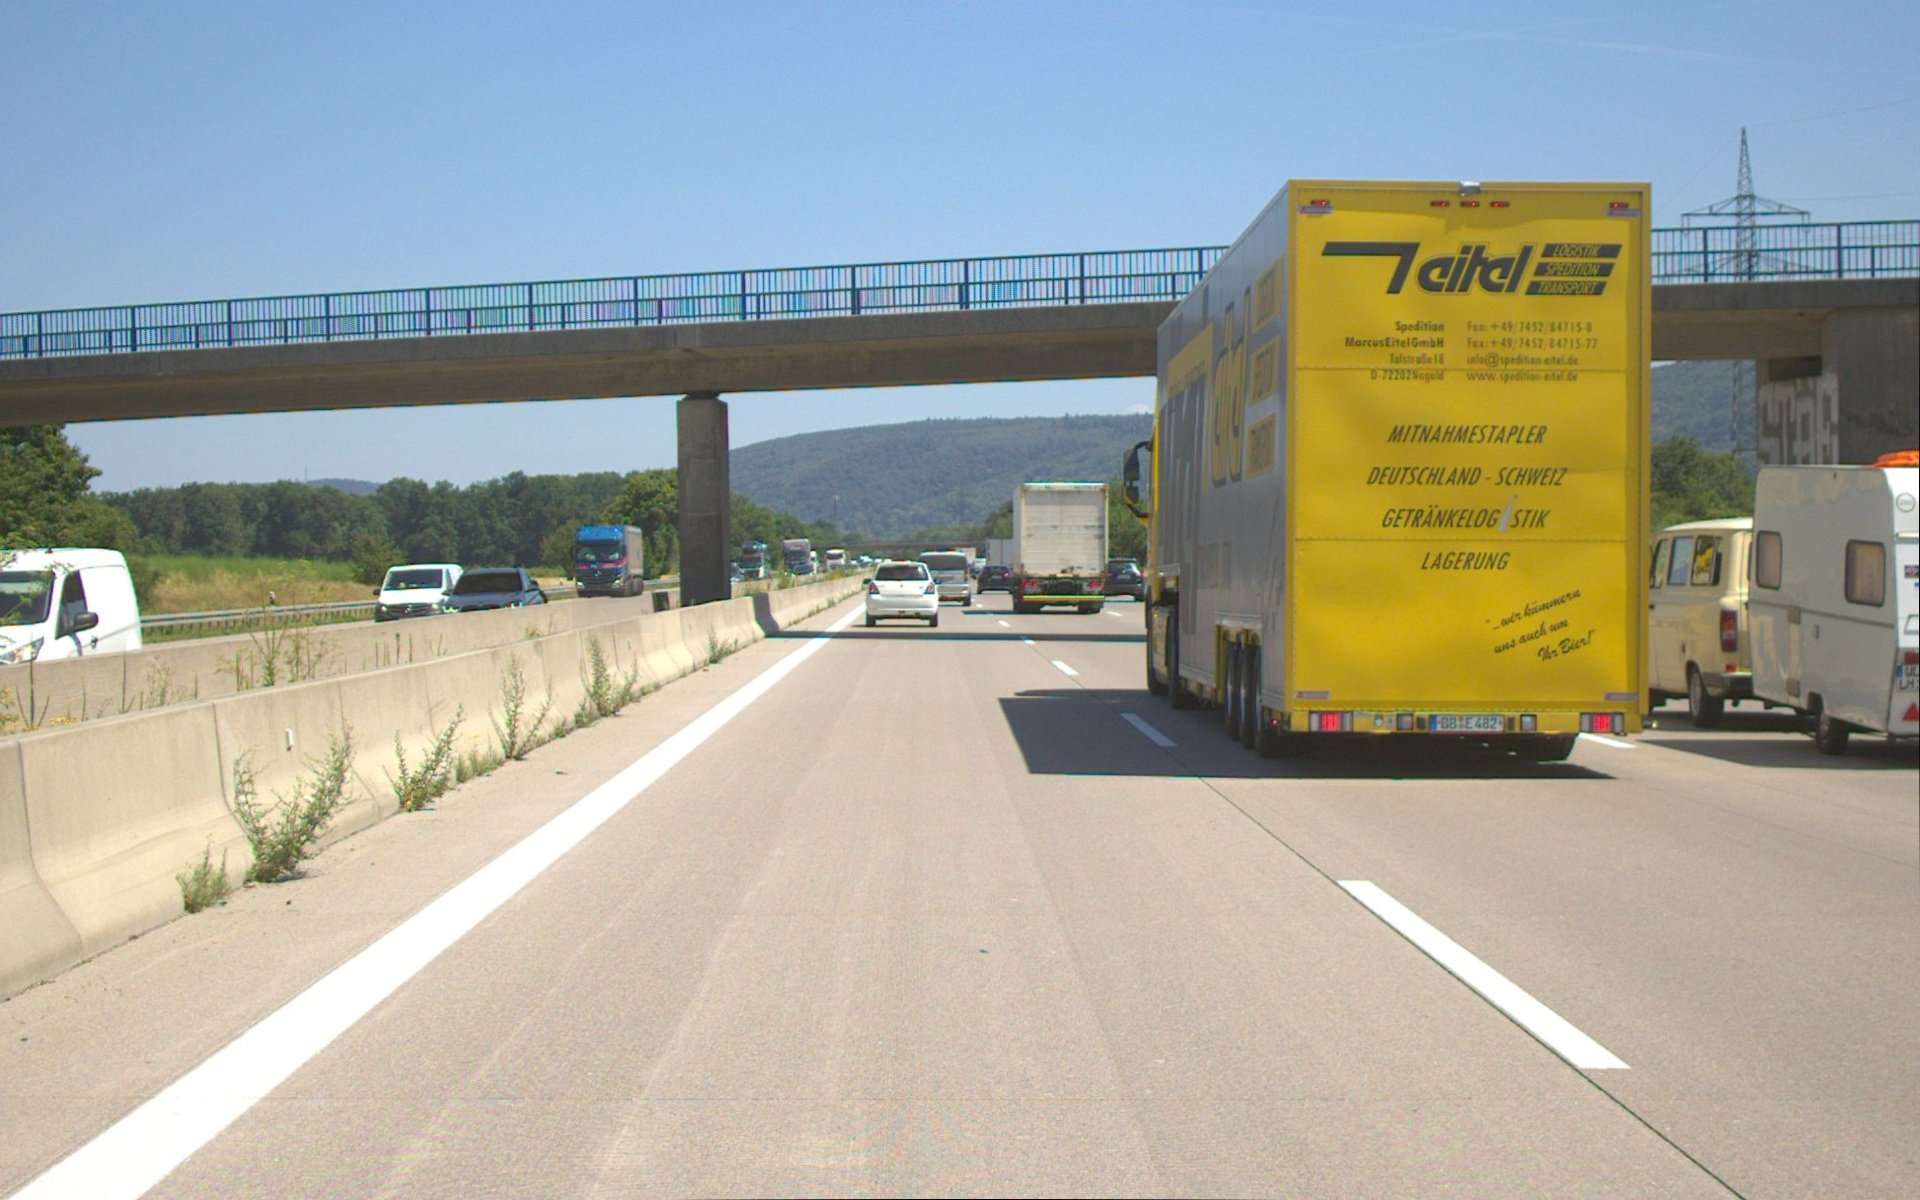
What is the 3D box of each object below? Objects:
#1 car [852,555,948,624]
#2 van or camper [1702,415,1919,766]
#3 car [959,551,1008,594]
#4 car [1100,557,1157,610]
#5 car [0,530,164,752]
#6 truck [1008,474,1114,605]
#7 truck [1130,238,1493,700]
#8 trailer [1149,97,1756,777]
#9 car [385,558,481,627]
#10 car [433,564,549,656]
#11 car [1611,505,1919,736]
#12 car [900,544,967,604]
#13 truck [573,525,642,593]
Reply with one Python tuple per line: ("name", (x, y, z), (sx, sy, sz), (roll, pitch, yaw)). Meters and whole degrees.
("car", (-1.381, -0.279, 80.893), (2.107, 1.530, 4.122), (1, 1, 1))
("van or camper", (7.688, -0.102, 27.455), (2.224, 2.522, 5.431), (1, 1, -1))
("car", (1.098, -1.327, 164.803), (2.222, 2.007, 4.000), (1, 1, -1))
("car", (6.624, -0.682, 135.532), (1.993, 2.007, 4.000), (1, 1, -1))
("car", (-9.161, 0.350, 33.125), (1.866, 1.973, 4.789), (-2, 1, -1))
("truck", (2.959, -1.813, 102.542), (2.820, 3.748, 6.284), (1, 1, -1))
("truck", (3.643, -1.354, 37.142), (3.216, 4.548, 5.836), (1, 1, 0))
("trailer", (3.701, -1.223, 29.991), (3.216, 4.548, 13.457), (1, 1, 0))
("car", (-14.018, -0.229, 91.659), (1.866, 1.734, 4.789), (-1, 1, -1))
("car", (-10.050, 0.184, 73.960), (1.866, 1.833, 4.789), (-1, 1, -1))
("car", (7.534, 0.148, 32.267), (1.993, 2.007, 4.000), (1, 1, -1))
("car", (-0.903, -0.914, 119.496), (2.254, 2.007, 4.298), (1, 1, 0))
("truck", (-18.854, -2.212, 184.136), (2.985, 3.548, 7.493), (1, 1, -1))
